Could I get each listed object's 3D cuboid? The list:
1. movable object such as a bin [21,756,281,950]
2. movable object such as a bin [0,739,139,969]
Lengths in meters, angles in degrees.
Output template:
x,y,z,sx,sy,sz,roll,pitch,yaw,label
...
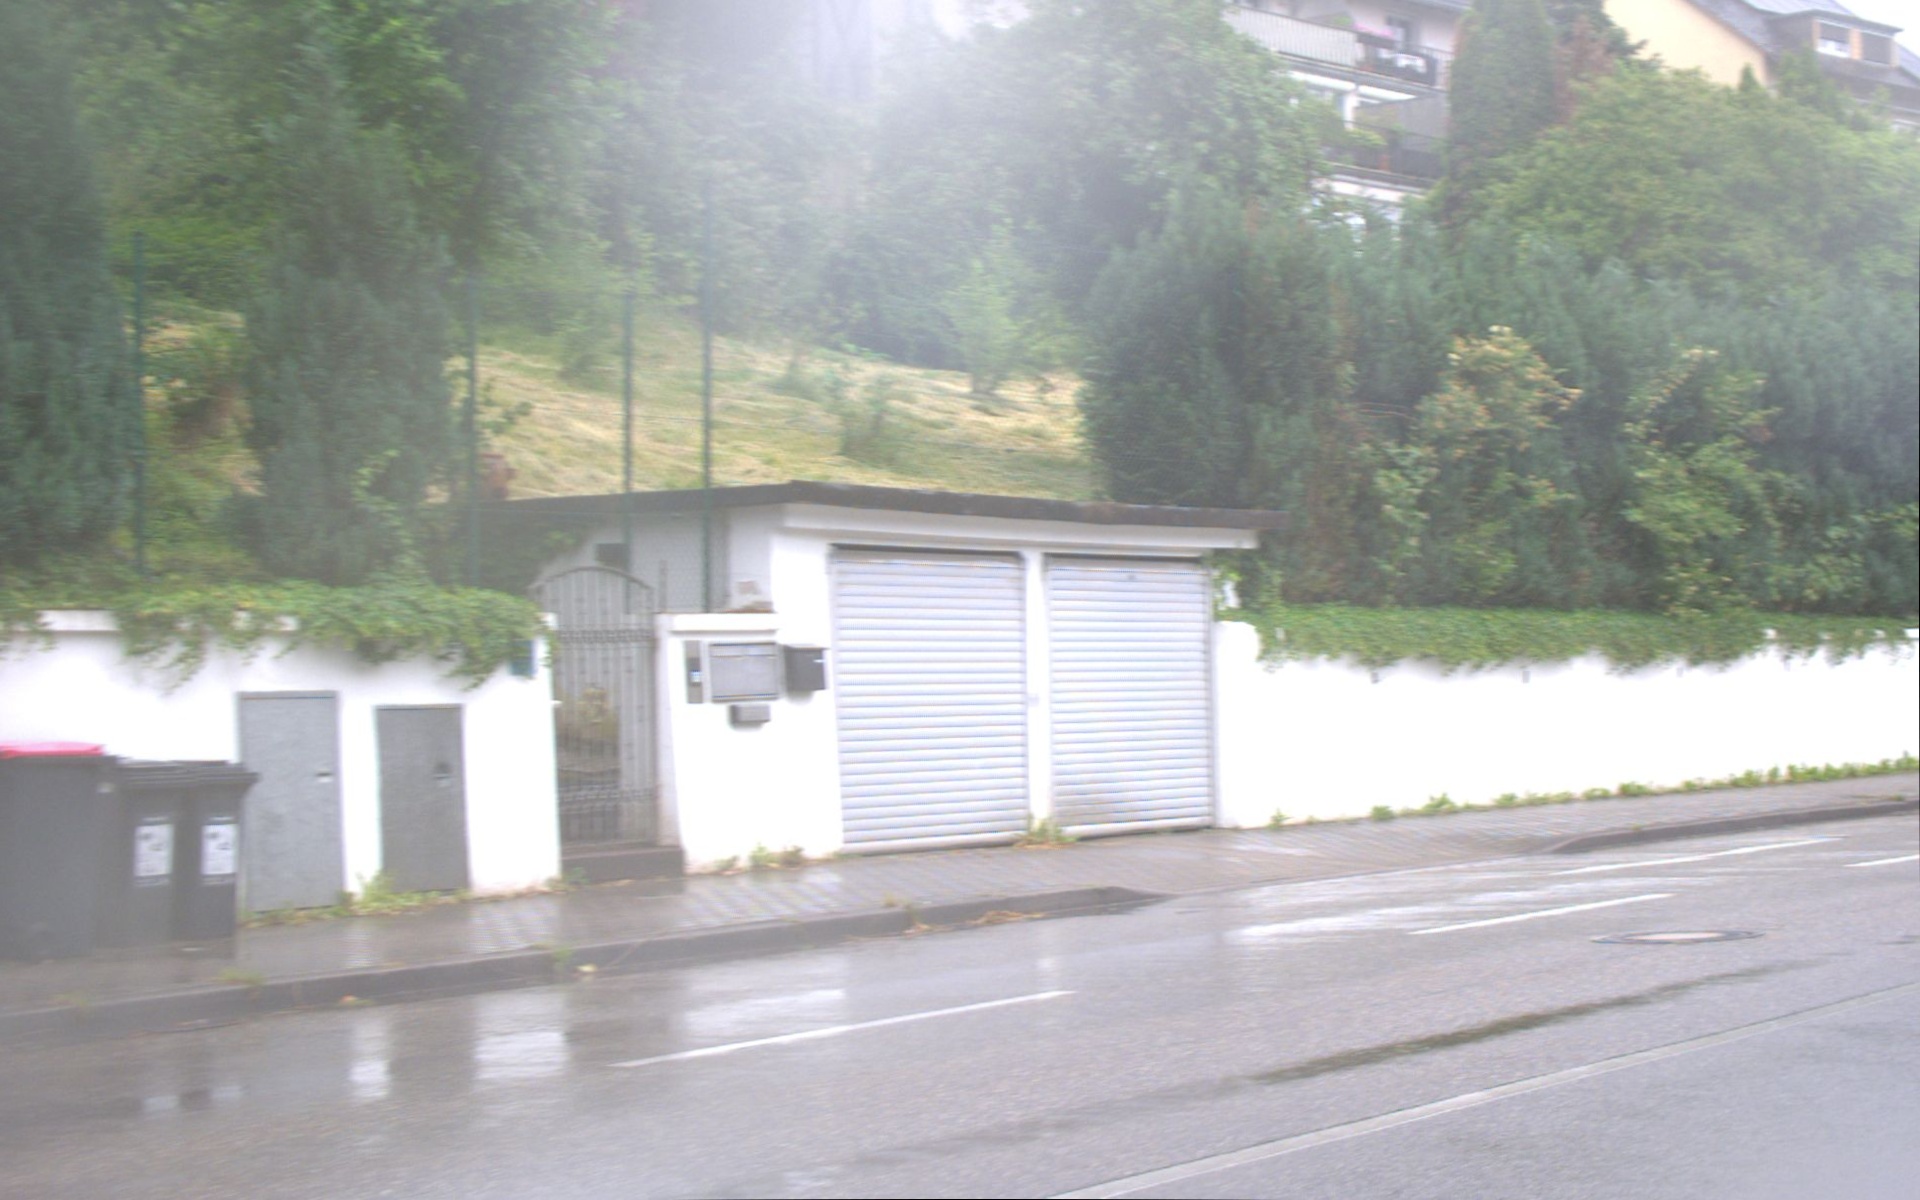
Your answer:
x,y,z,sx,sy,sz,roll,pitch,yaw,label
-4.144,1.284,17.640,0.851,0.913,0.952,-2,-1,33,movable object such as a bin
-4.522,1.221,16.713,0.635,1.057,0.792,-2,-1,34,movable object such as a bin
